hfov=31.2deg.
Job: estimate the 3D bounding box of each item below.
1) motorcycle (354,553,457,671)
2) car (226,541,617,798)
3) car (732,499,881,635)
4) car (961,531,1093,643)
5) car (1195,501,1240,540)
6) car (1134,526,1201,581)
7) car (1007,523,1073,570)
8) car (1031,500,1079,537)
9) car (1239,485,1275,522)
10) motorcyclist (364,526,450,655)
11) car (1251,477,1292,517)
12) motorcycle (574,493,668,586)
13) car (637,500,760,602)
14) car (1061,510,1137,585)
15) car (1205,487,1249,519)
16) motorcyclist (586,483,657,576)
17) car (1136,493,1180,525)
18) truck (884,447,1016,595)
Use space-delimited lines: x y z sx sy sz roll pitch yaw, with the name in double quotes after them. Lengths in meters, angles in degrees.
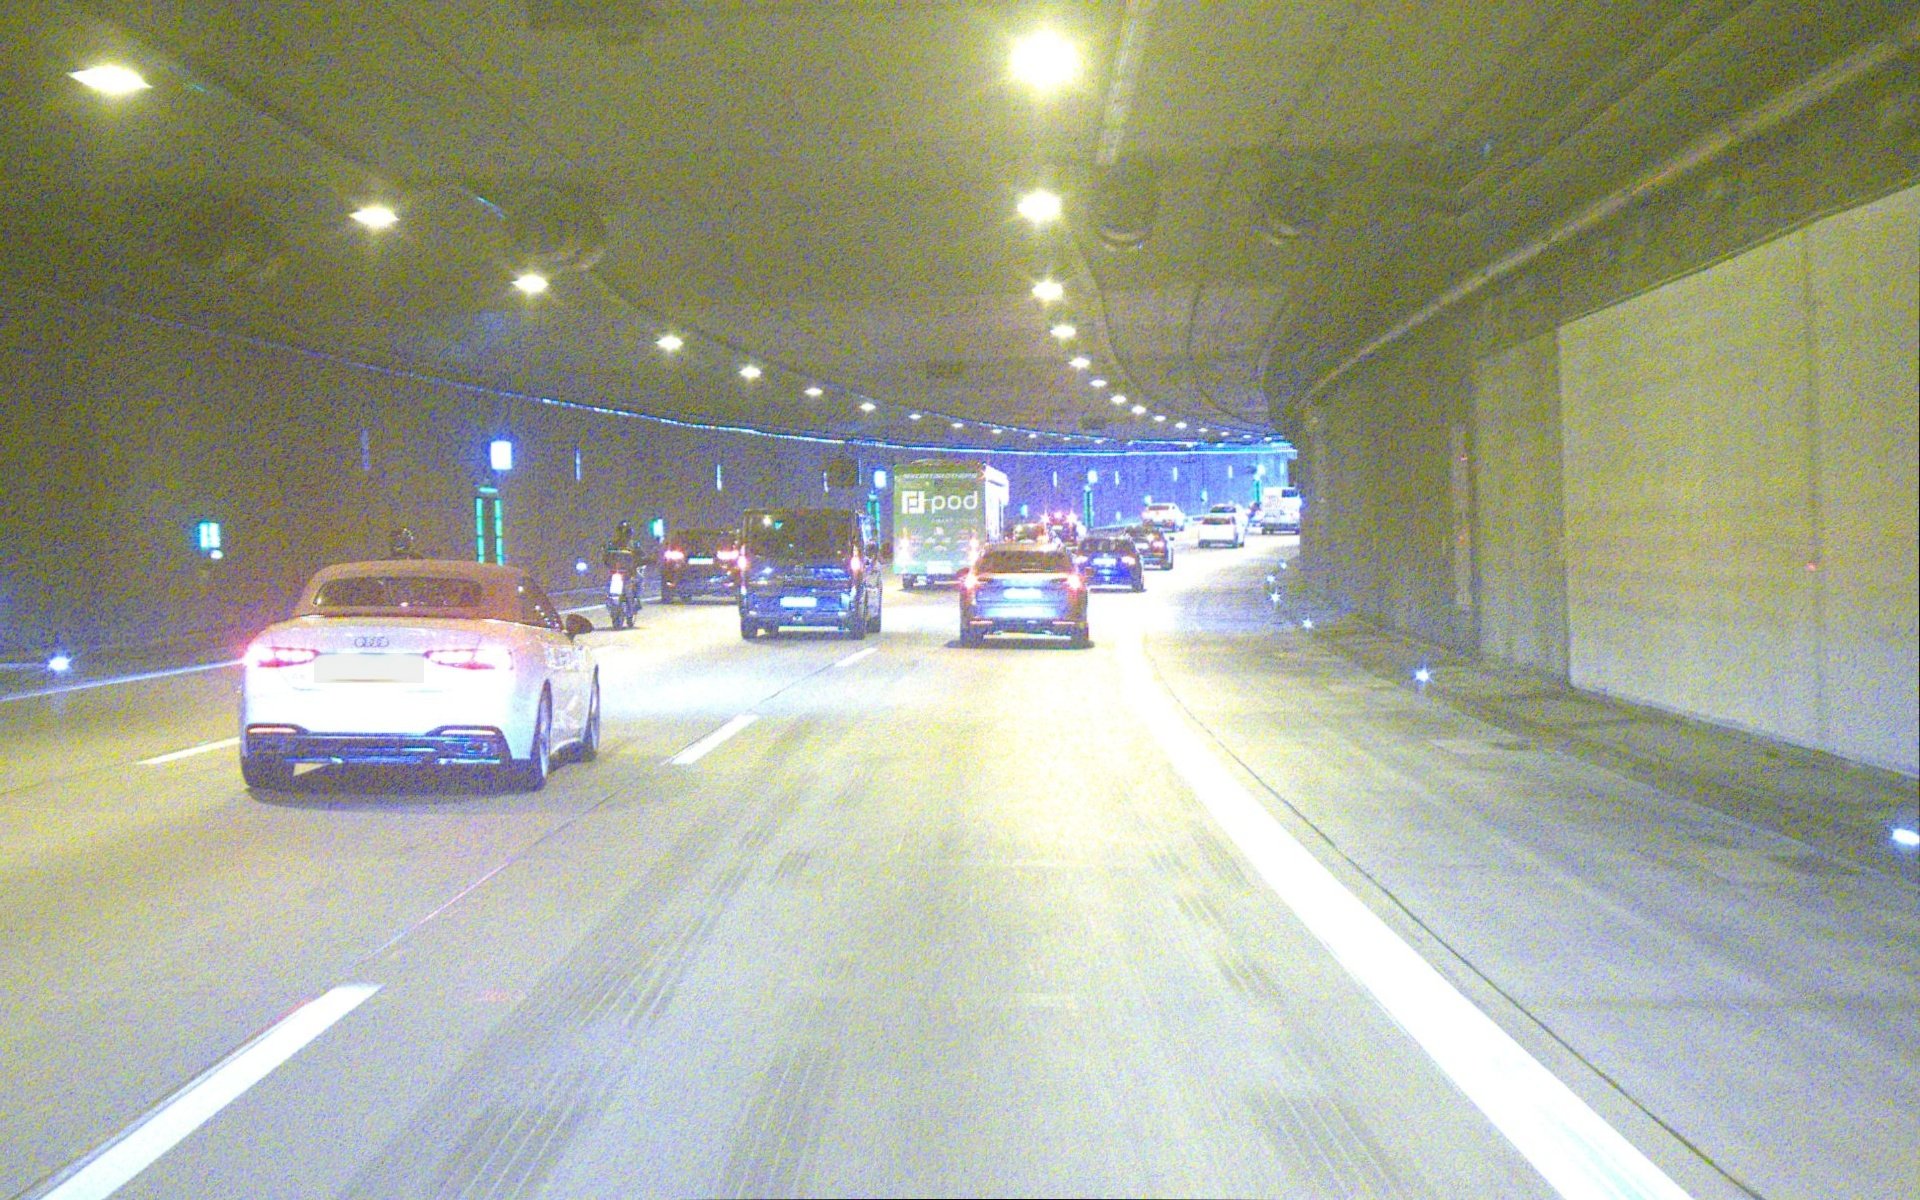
-6.301 0.122 39.174 0.683 1.292 2.398 0 0 2 "motorcycle"
-3.343 0.355 22.253 1.702 1.414 5.060 0 2 0 "car"
-2.282 -0.537 52.048 1.910 1.937 3.871 0 2 3 "car"
0.997 -0.216 49.174 1.742 1.459 3.871 0 2 3 "car"
11.372 -3.524 152.140 1.931 1.637 3.999 0 0 4 "car"
6.830 -1.518 113.592 1.950 1.766 4.000 0 0 0 "car"
2.874 -1.921 122.827 1.994 1.626 3.999 0 1 6 "car"
4.317 -3.684 155.188 1.931 1.637 3.999 0 1 5 "car"
17.244 -5.590 199.601 1.994 2.007 3.999 0 0 7 "car"
-6.295 -0.108 39.192 0.777 1.447 1.069 0 0 2 "motorcyclist"
16.377 -5.404 180.640 1.994 2.007 3.999 0 0 8 "car"
-5.420 -0.952 55.170 0.926 1.429 2.963 1 0 5 "motorcycle"
-5.251 -0.996 69.489 1.994 2.007 4.000 0 1 3 "car"
3.487 -1.323 86.625 1.857 1.848 4.000 0 1 2 "car"
14.391 -5.200 184.836 1.994 1.626 3.998 0 0 10 "car"
-5.420 -1.116 55.137 0.806 1.443 1.865 0 -1 5 "motorcyclist"
10.733 -4.918 186.495 1.931 1.637 3.998 0 0 10 "car"
-0.177 -2.020 88.876 3.039 3.661 7.392 0 1 3 "truck"
